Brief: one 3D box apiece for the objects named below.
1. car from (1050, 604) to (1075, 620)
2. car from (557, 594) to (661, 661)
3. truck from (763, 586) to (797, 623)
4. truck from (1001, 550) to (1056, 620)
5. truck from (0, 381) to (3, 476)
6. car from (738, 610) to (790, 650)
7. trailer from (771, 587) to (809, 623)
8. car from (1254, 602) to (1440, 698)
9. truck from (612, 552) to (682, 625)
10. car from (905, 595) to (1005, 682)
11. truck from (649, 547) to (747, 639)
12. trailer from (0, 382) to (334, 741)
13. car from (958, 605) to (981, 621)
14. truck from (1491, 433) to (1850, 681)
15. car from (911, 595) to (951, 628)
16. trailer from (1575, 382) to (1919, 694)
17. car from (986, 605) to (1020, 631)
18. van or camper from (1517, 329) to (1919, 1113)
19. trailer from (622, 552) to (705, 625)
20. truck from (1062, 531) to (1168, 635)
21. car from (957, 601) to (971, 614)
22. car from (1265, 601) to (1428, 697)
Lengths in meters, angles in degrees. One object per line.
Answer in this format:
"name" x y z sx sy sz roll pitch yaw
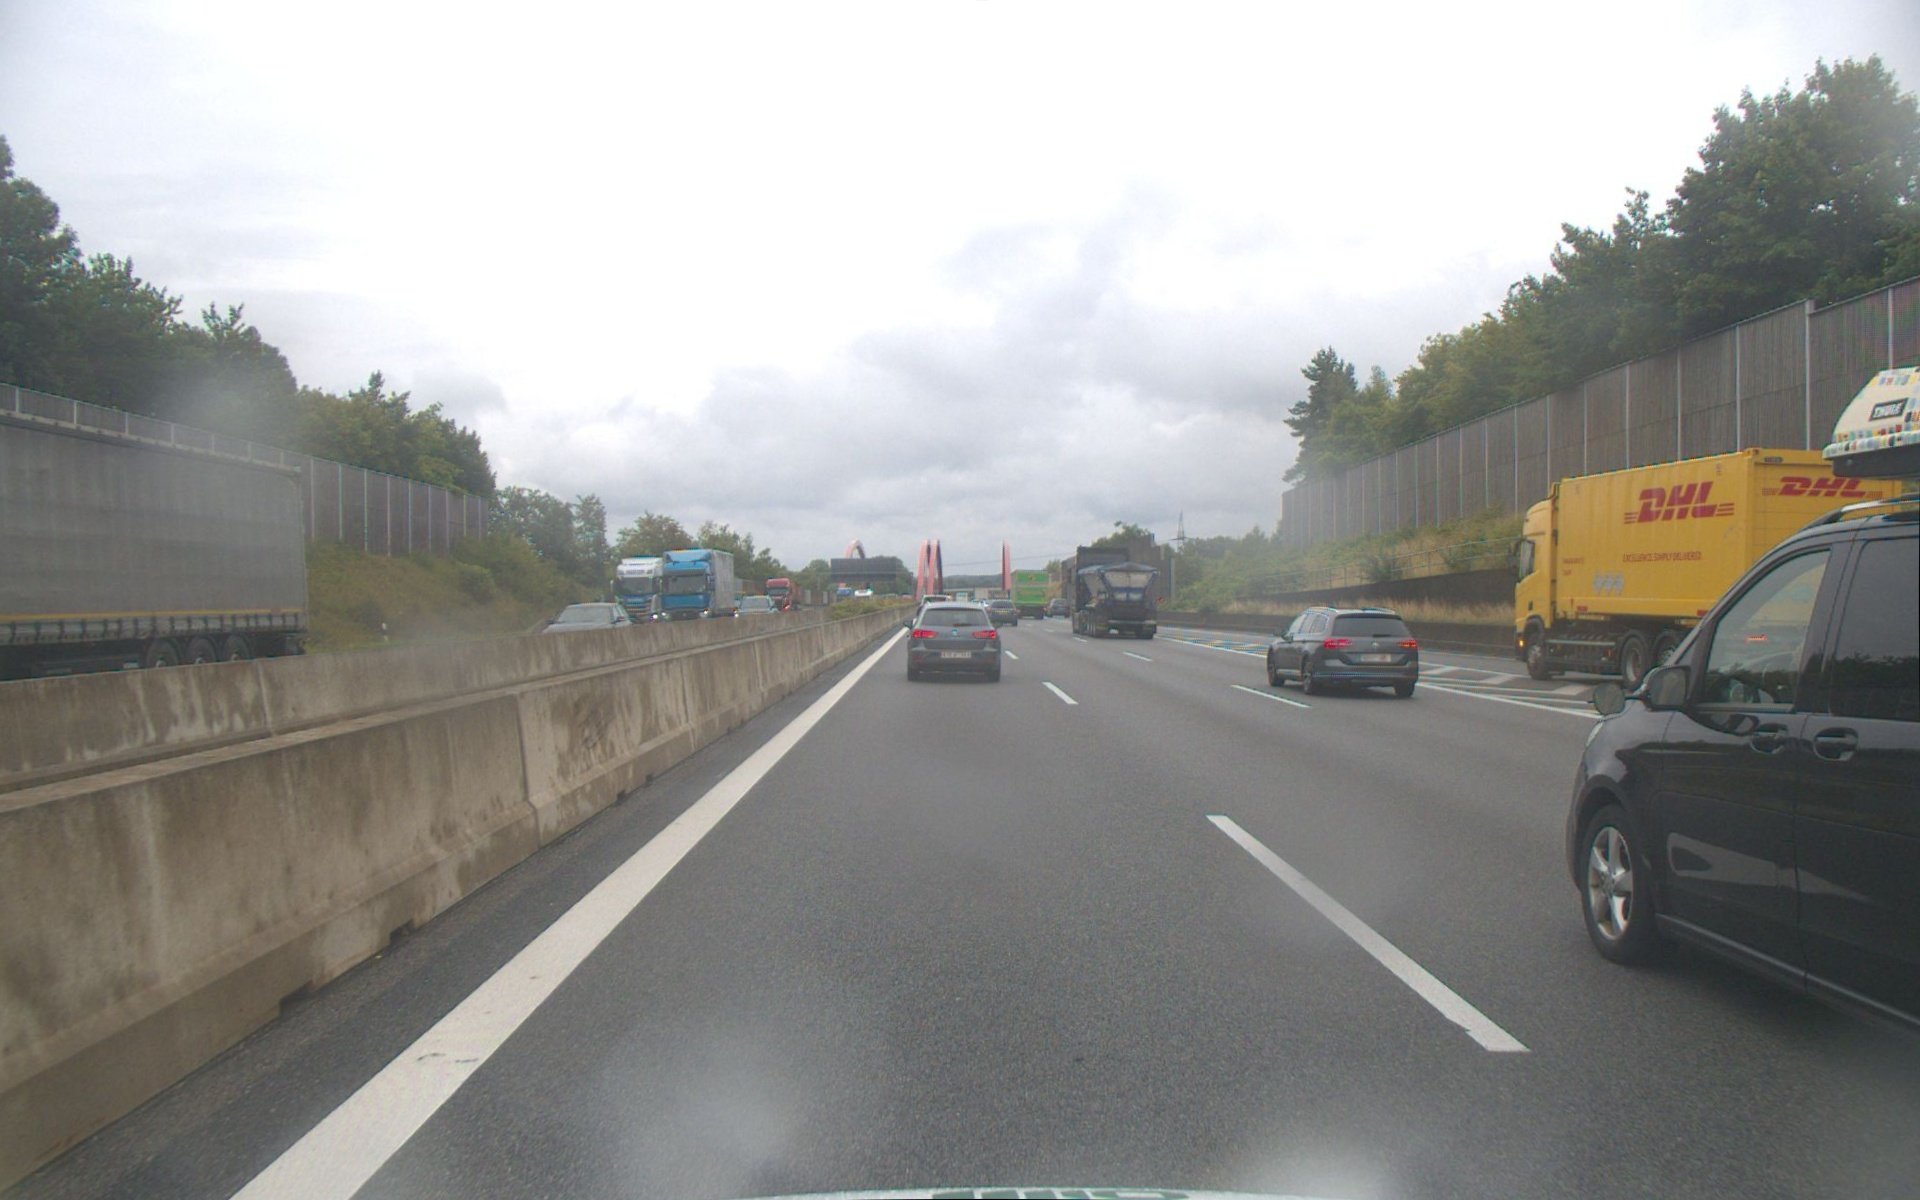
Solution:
"car" 9.157 1.035 148.363 1.953 1.378 3.999 0 0 -1
"car" -9.458 0.701 44.904 1.932 1.719 4.356 0 0 -1
"truck" -18.884 0.460 174.234 2.641 3.771 6.481 2 0 1
"truck" 5.495 -1.166 135.183 3.916 5.358 11.219 2 0 0
"truck" -13.098 -0.536 17.152 2.723 4.400 6.096 2 0 -1
"car" -9.311 1.394 78.780 1.953 1.766 5.001 0 0 -1
"trailer" -18.700 0.527 182.634 2.670 3.748 12.565 0 0 1
"car" 6.607 0.792 28.839 1.900 1.452 5.288 2 0 -1
"truck" -17.247 -0.608 91.477 2.830 3.862 5.888 0 0 -1
"car" -0.141 0.677 30.900 1.728 1.478 3.999 1 0 -2
"truck" -13.552 -0.305 86.837 3.087 4.400 12.678 2 0 0
"trailer" -13.195 -0.471 24.291 2.723 4.400 14.021 2 0 -1
"car" 0.826 1.106 145.396 1.953 1.378 3.999 0 0 -1
"truck" 13.301 -0.685 32.110 2.631 4.027 9.322 2 0 -2
"car" -1.454 0.547 83.319 1.953 1.613 3.999 0 0 -1
"trailer" 13.571 -0.756 23.958 2.597 4.022 16.679 2 0 -2
"car" 2.400 0.997 93.072 1.745 1.431 3.625 1 0 0
"van or camper" 3.756 0.375 5.382 1.852 2.309 5.678 2 0 -1
"trailer" -17.357 -0.645 97.755 2.844 4.004 12.441 0 0 -1
"truck" 6.448 -0.617 70.913 3.027 4.019 12.941 0 0 -1
"car" 0.615 1.127 247.124 1.953 1.847 4.000 1 0 0
"car" 6.553 0.793 28.496 1.629 1.482 4.469 2 0 -1
